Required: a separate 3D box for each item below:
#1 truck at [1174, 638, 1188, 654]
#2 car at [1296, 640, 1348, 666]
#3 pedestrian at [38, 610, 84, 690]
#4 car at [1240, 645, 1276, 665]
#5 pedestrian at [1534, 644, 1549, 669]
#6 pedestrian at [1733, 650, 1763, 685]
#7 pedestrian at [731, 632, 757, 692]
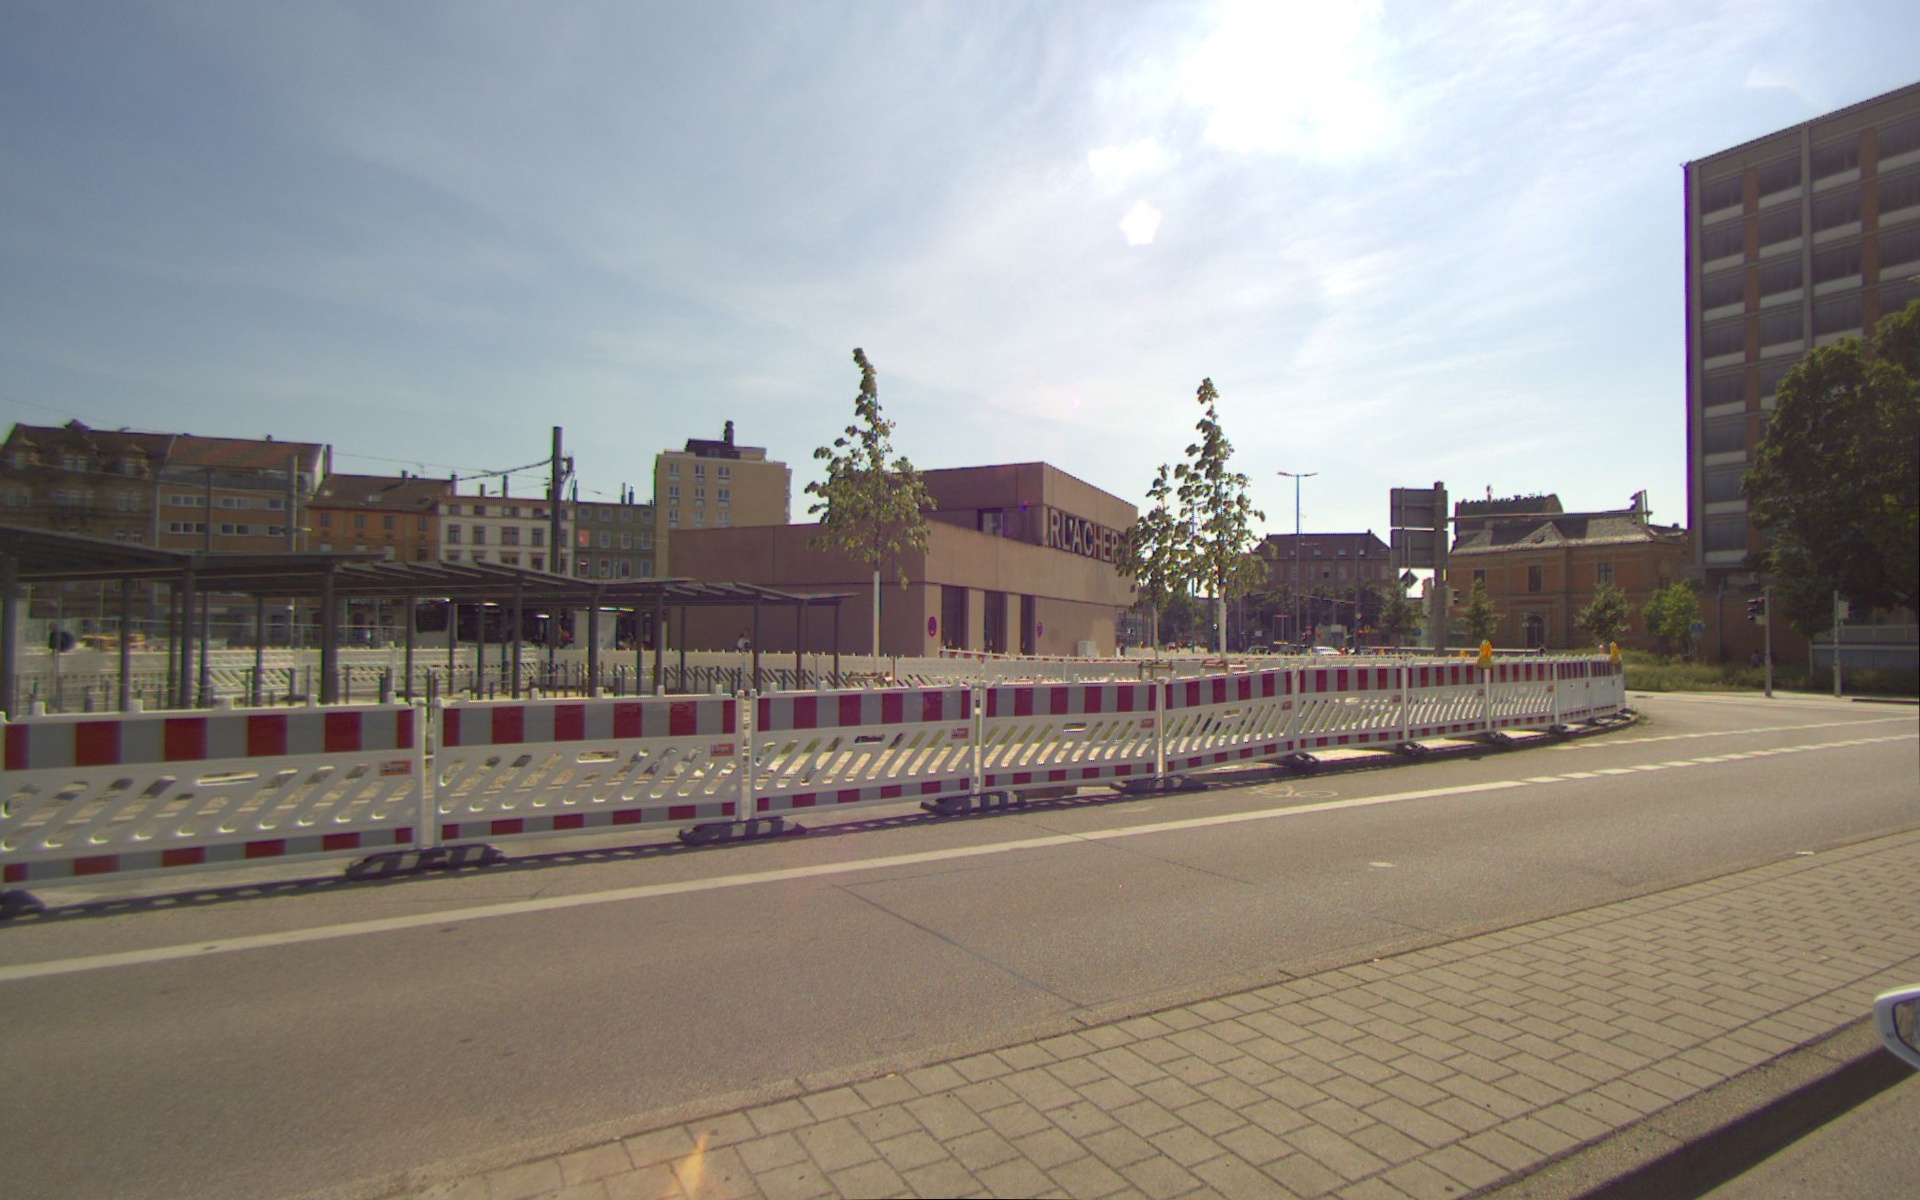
[{"bbox_3d":[53.427,11.142,243.253,3.011,3.779,7.937,0,-2,10],"label":"truck"},{"bbox_3d":[26.094,3.813,72.596,1.963,1.839,3.996,1,-2,-7],"label":"car"},{"bbox_3d":[-23.363,1.295,26.106,0.807,2.040,0.684,-1,-3,35],"label":"pedestrian"},{"bbox_3d":[23.778,4.364,80.212,1.764,1.530,4.001,1,-2,1],"label":"car"},{"bbox_3d":[41.184,4.000,71.163,0.637,1.683,0.650,2,0,-3],"label":"pedestrian"},{"bbox_3d":[40.349,3.440,51.433,0.857,1.748,0.799,1,-2,-7],"label":"pedestrian"},{"bbox_3d":[-5.841,1.668,27.179,0.416,1.585,0.557,-1,-2,28],"label":"pedestrian"}]
